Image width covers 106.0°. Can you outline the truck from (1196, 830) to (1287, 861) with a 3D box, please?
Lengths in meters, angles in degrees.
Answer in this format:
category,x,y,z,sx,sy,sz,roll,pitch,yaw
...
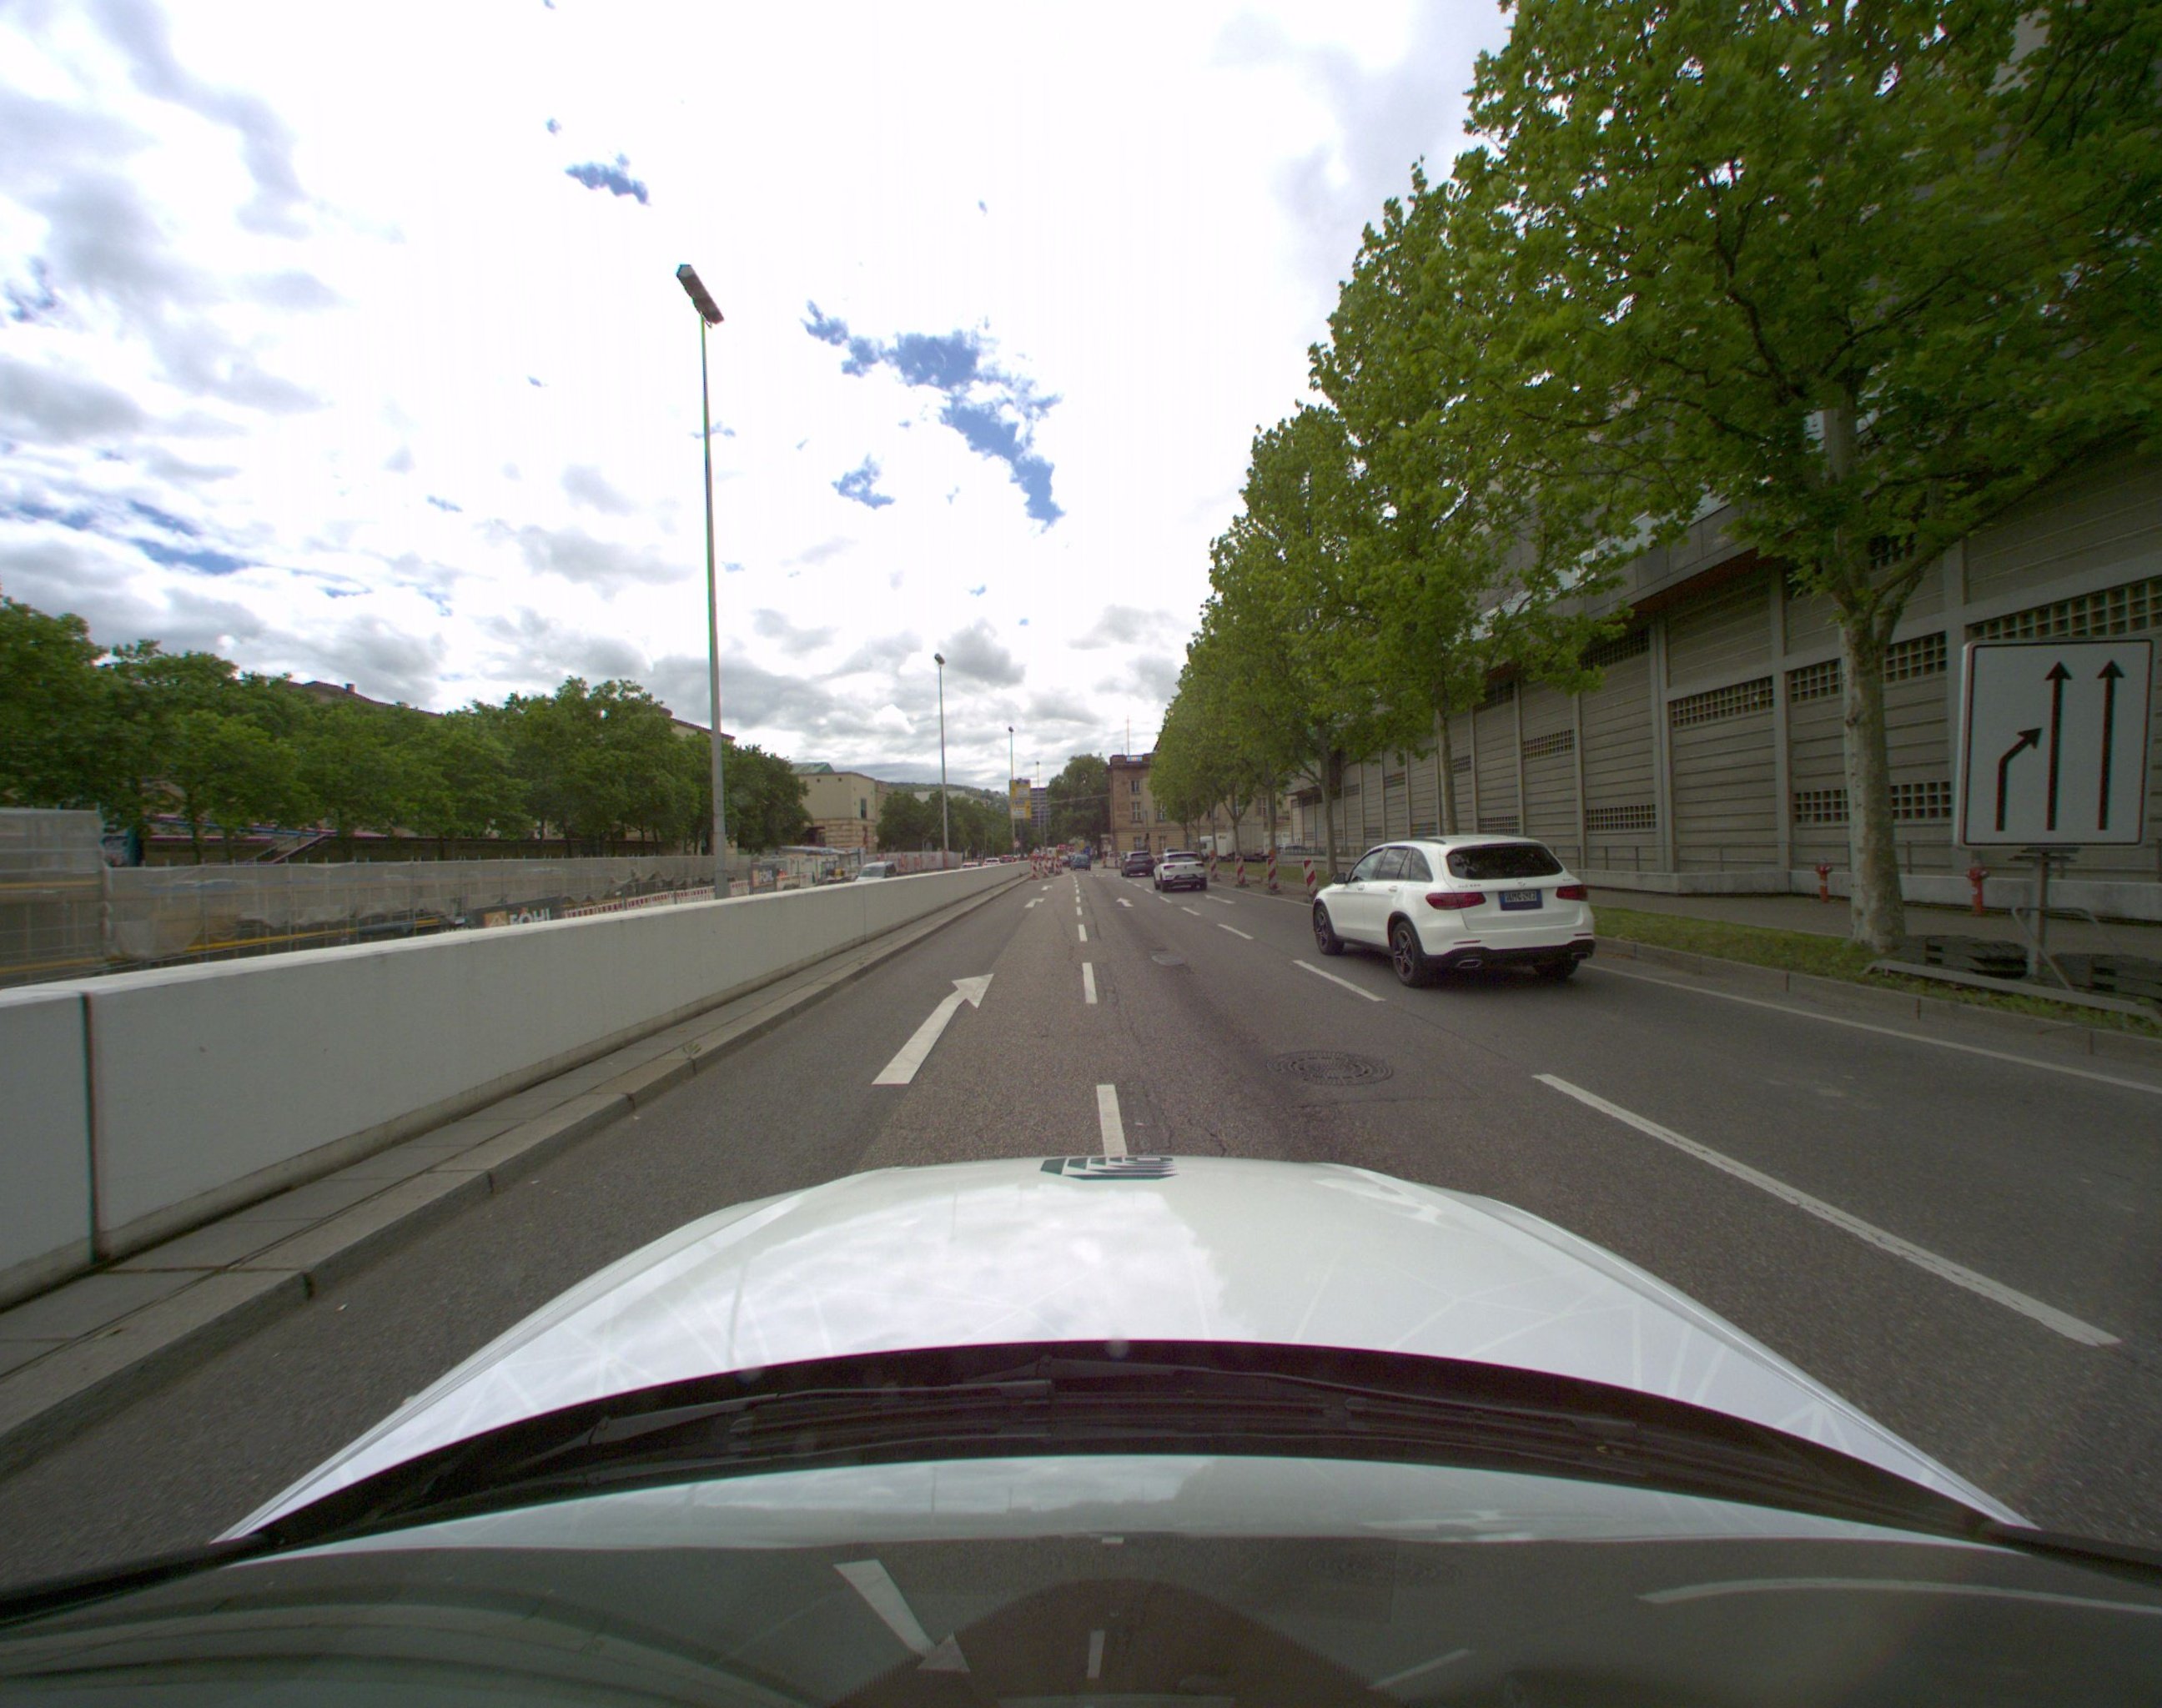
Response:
category,x,y,z,sx,sy,sz,roll,pitch,yaw
truck,18.392,-0.961,93.696,9.997,3.051,2.568,-2,-1,0

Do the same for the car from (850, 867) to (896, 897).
category,x,y,z,sx,sy,sz,roll,pitch,yaw
car,-12.334,1.631,48.468,1.745,1.567,3.377,-4,0,1

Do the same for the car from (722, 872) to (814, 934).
category,x,y,z,sx,sy,sz,roll,pitch,yaw
car,-12.162,1.845,31.921,1.988,2.013,3.999,-2,2,-1

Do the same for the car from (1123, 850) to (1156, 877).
category,x,y,z,sx,sy,sz,roll,pitch,yaw
car,3.817,0.629,53.927,1.817,1.567,4.479,-5,-1,0

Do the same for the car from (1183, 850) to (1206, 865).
category,x,y,z,sx,sy,sz,roll,pitch,yaw
car,11.873,0.384,85.327,1.850,1.568,4.330,-2,-1,0

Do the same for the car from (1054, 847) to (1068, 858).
category,x,y,z,sx,sy,sz,roll,pitch,yaw
car,-4.613,-0.277,185.893,2.571,2.374,5.533,-3,0,4

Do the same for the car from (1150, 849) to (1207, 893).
category,x,y,z,sx,sy,sz,roll,pitch,yaw
car,3.940,0.642,33.436,1.745,1.567,4.332,-4,0,1

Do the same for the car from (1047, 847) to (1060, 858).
category,x,y,z,sx,sy,sz,roll,pitch,yaw
car,-6.604,-0.375,197.573,2.571,2.374,5.533,-3,0,4

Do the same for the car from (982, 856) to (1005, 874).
category,x,y,z,sx,sy,sz,roll,pitch,yaw
car,-8.121,0.989,75.923,1.744,1.568,3.377,-1,0,1

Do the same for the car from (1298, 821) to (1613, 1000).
category,x,y,z,sx,sy,sz,roll,pitch,yaw
car,4.344,0.523,10.385,1.806,1.642,4.551,-5,1,0

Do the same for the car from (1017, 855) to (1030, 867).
category,x,y,z,sx,sy,sz,roll,pitch,yaw
car,-8.441,1.014,119.778,1.747,1.568,4.326,-2,0,-3

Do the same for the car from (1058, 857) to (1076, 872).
category,x,y,z,sx,sy,sz,roll,pitch,yaw
car,-1.704,1.277,102.770,1.815,1.741,4.485,-3,-1,4

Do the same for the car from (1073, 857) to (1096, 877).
category,x,y,z,sx,sy,sz,roll,pitch,yaw
car,0.333,1.249,77.808,1.815,1.740,4.484,-3,0,4

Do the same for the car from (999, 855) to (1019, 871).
category,x,y,z,sx,sy,sz,roll,pitch,yaw
car,-7.894,1.018,89.736,1.745,1.567,3.377,-4,0,1

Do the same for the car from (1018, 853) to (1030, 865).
category,x,y,z,sx,sy,sz,roll,pitch,yaw
car,-10.686,0.883,152.435,1.989,2.013,3.996,-2,2,-3

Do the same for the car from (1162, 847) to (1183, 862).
category,x,y,z,sx,sy,sz,roll,pitch,yaw
car,9.663,0.065,86.053,1.745,1.568,4.330,-2,-1,0

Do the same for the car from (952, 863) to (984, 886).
category,x,y,z,sx,sy,sz,roll,pitch,yaw
car,-8.417,1.504,61.031,1.745,1.568,4.331,-2,0,1
